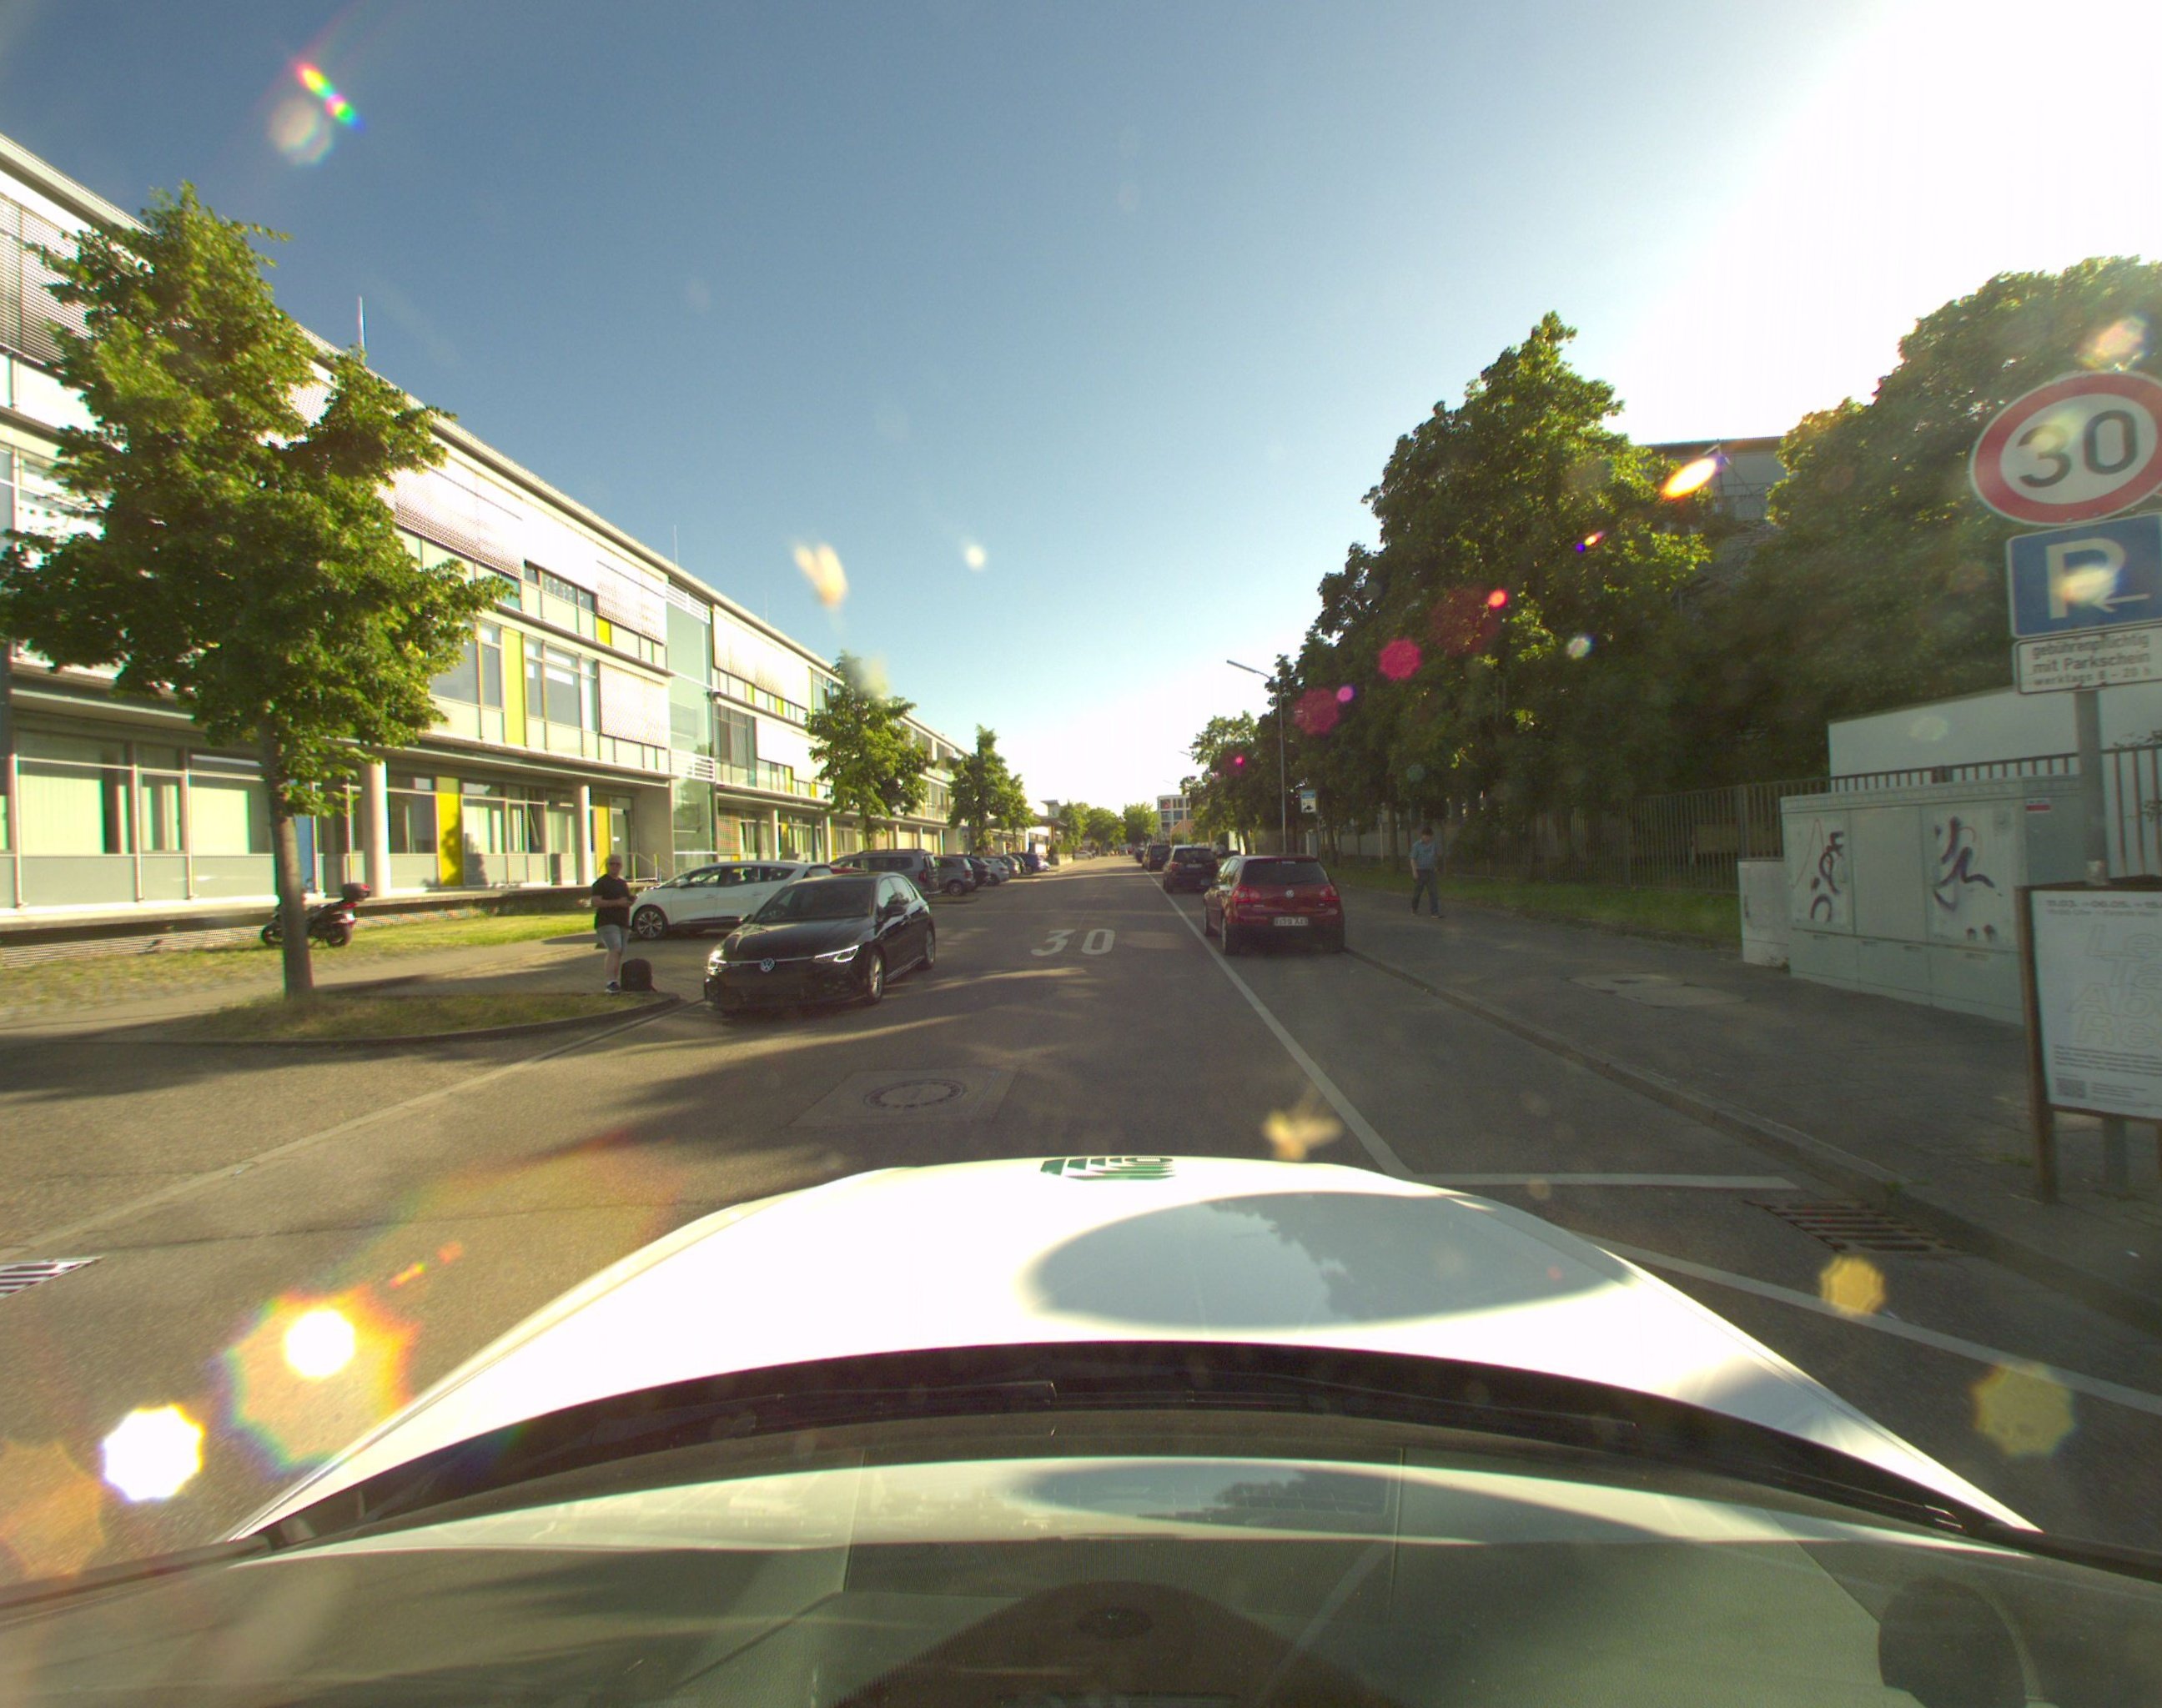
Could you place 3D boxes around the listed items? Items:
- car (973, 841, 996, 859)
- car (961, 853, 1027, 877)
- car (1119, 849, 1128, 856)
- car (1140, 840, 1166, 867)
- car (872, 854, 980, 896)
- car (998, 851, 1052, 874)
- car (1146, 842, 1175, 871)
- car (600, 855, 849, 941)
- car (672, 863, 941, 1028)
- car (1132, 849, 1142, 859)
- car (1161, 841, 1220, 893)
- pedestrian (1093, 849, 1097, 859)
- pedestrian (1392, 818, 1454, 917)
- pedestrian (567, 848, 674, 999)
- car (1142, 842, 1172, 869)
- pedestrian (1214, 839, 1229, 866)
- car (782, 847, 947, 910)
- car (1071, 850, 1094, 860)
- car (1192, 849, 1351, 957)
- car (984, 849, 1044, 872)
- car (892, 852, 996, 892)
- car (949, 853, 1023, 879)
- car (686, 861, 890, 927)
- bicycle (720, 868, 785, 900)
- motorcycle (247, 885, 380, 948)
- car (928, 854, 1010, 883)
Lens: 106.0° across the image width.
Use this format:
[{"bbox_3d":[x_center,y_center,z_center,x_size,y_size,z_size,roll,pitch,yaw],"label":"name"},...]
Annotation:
[{"bbox_3d":[-11.584,-0.405,97.982,1.985,2.014,4.003,-2,-1,3],"label":"car"},{"bbox_3d":[-5.749,0.743,54.284,4.201,1.486,1.871,-1,0,-1],"label":"car"},{"bbox_3d":[8.993,-0.321,172.235,1.735,1.543,4.007,-2,0,6],"label":"car"},{"bbox_3d":[5.911,-0.056,66.939,1.867,1.978,4.003,-3,0,3],"label":"car"},{"bbox_3d":[-6.240,0.831,33.089,3.975,1.607,1.871,-1,0,-1],"label":"car"},{"bbox_3d":[-4.330,0.642,63.771,3.974,1.552,2.000,-2,1,0],"label":"car"},{"bbox_3d":[5.262,0.149,54.457,1.725,1.830,3.909,-2,0,3],"label":"car"},{"bbox_3d":[-7.710,0.930,17.856,4.588,1.651,1.871,-2,0,6],"label":"car"},{"bbox_3d":[-3.071,0.931,10.100,1.697,1.451,4.089,-4,0,3],"label":"car"},{"bbox_3d":[11.437,0.029,167.180,1.985,2.014,4.003,-2,-1,3],"label":"car"},{"bbox_3d":[3.878,0.412,29.513,1.804,1.666,4.598,-1,1,4],"label":"car"},{"bbox_3d":[2.331,-0.028,137.404,0.616,1.624,0.716,-3,0,3],"label":"pedestrian"},{"bbox_3d":[6.413,0.241,15.322,0.714,1.758,0.885,-5,0,4],"label":"pedestrian"},{"bbox_3d":[-5.859,0.851,10.413,0.854,1.842,0.827,-1,0,5],"label":"pedestrian"},{"bbox_3d":[5.608,0.076,60.694,1.985,1.822,4.202,-3,0,3],"label":"car"},{"bbox_3d":[8.872,-0.101,51.506,0.695,1.661,0.752,-5,0,3],"label":"pedestrian"},{"bbox_3d":[-6.866,0.751,26.110,4.722,1.865,1.829,-1,0,3],"label":"car"},{"bbox_3d":[0.298,0.135,142.373,3.970,1.519,2.002,-2,-1,3],"label":"car"},{"bbox_3d":[2.930,0.659,13.486,1.713,1.454,4.655,-1,0,3],"label":"car"},{"bbox_3d":[-4.812,0.441,58.840,4.201,1.603,1.871,-1,0,-1],"label":"car"},{"bbox_3d":[-6.001,0.773,36.038,4.233,1.611,2.047,-1,0,-1],"label":"car"},{"bbox_3d":[-5.663,0.681,48.855,4.201,1.462,1.871,-1,0,-1],"label":"car"},{"bbox_3d":[-7.275,0.976,20.472,4.415,1.501,1.829,-1,0,3],"label":"car"},{"bbox_3d":[-12.555,1.130,31.196,0.861,1.153,2.386,-1,0,24],"label":"bicycle"},{"bbox_3d":[-14.470,1.166,15.381,2.036,1.149,0.499,0,1,0],"label":"motorcycle"},{"bbox_3d":[-5.695,0.755,41.692,3.975,1.359,1.742,-1,-4,-1],"label":"car"}]
